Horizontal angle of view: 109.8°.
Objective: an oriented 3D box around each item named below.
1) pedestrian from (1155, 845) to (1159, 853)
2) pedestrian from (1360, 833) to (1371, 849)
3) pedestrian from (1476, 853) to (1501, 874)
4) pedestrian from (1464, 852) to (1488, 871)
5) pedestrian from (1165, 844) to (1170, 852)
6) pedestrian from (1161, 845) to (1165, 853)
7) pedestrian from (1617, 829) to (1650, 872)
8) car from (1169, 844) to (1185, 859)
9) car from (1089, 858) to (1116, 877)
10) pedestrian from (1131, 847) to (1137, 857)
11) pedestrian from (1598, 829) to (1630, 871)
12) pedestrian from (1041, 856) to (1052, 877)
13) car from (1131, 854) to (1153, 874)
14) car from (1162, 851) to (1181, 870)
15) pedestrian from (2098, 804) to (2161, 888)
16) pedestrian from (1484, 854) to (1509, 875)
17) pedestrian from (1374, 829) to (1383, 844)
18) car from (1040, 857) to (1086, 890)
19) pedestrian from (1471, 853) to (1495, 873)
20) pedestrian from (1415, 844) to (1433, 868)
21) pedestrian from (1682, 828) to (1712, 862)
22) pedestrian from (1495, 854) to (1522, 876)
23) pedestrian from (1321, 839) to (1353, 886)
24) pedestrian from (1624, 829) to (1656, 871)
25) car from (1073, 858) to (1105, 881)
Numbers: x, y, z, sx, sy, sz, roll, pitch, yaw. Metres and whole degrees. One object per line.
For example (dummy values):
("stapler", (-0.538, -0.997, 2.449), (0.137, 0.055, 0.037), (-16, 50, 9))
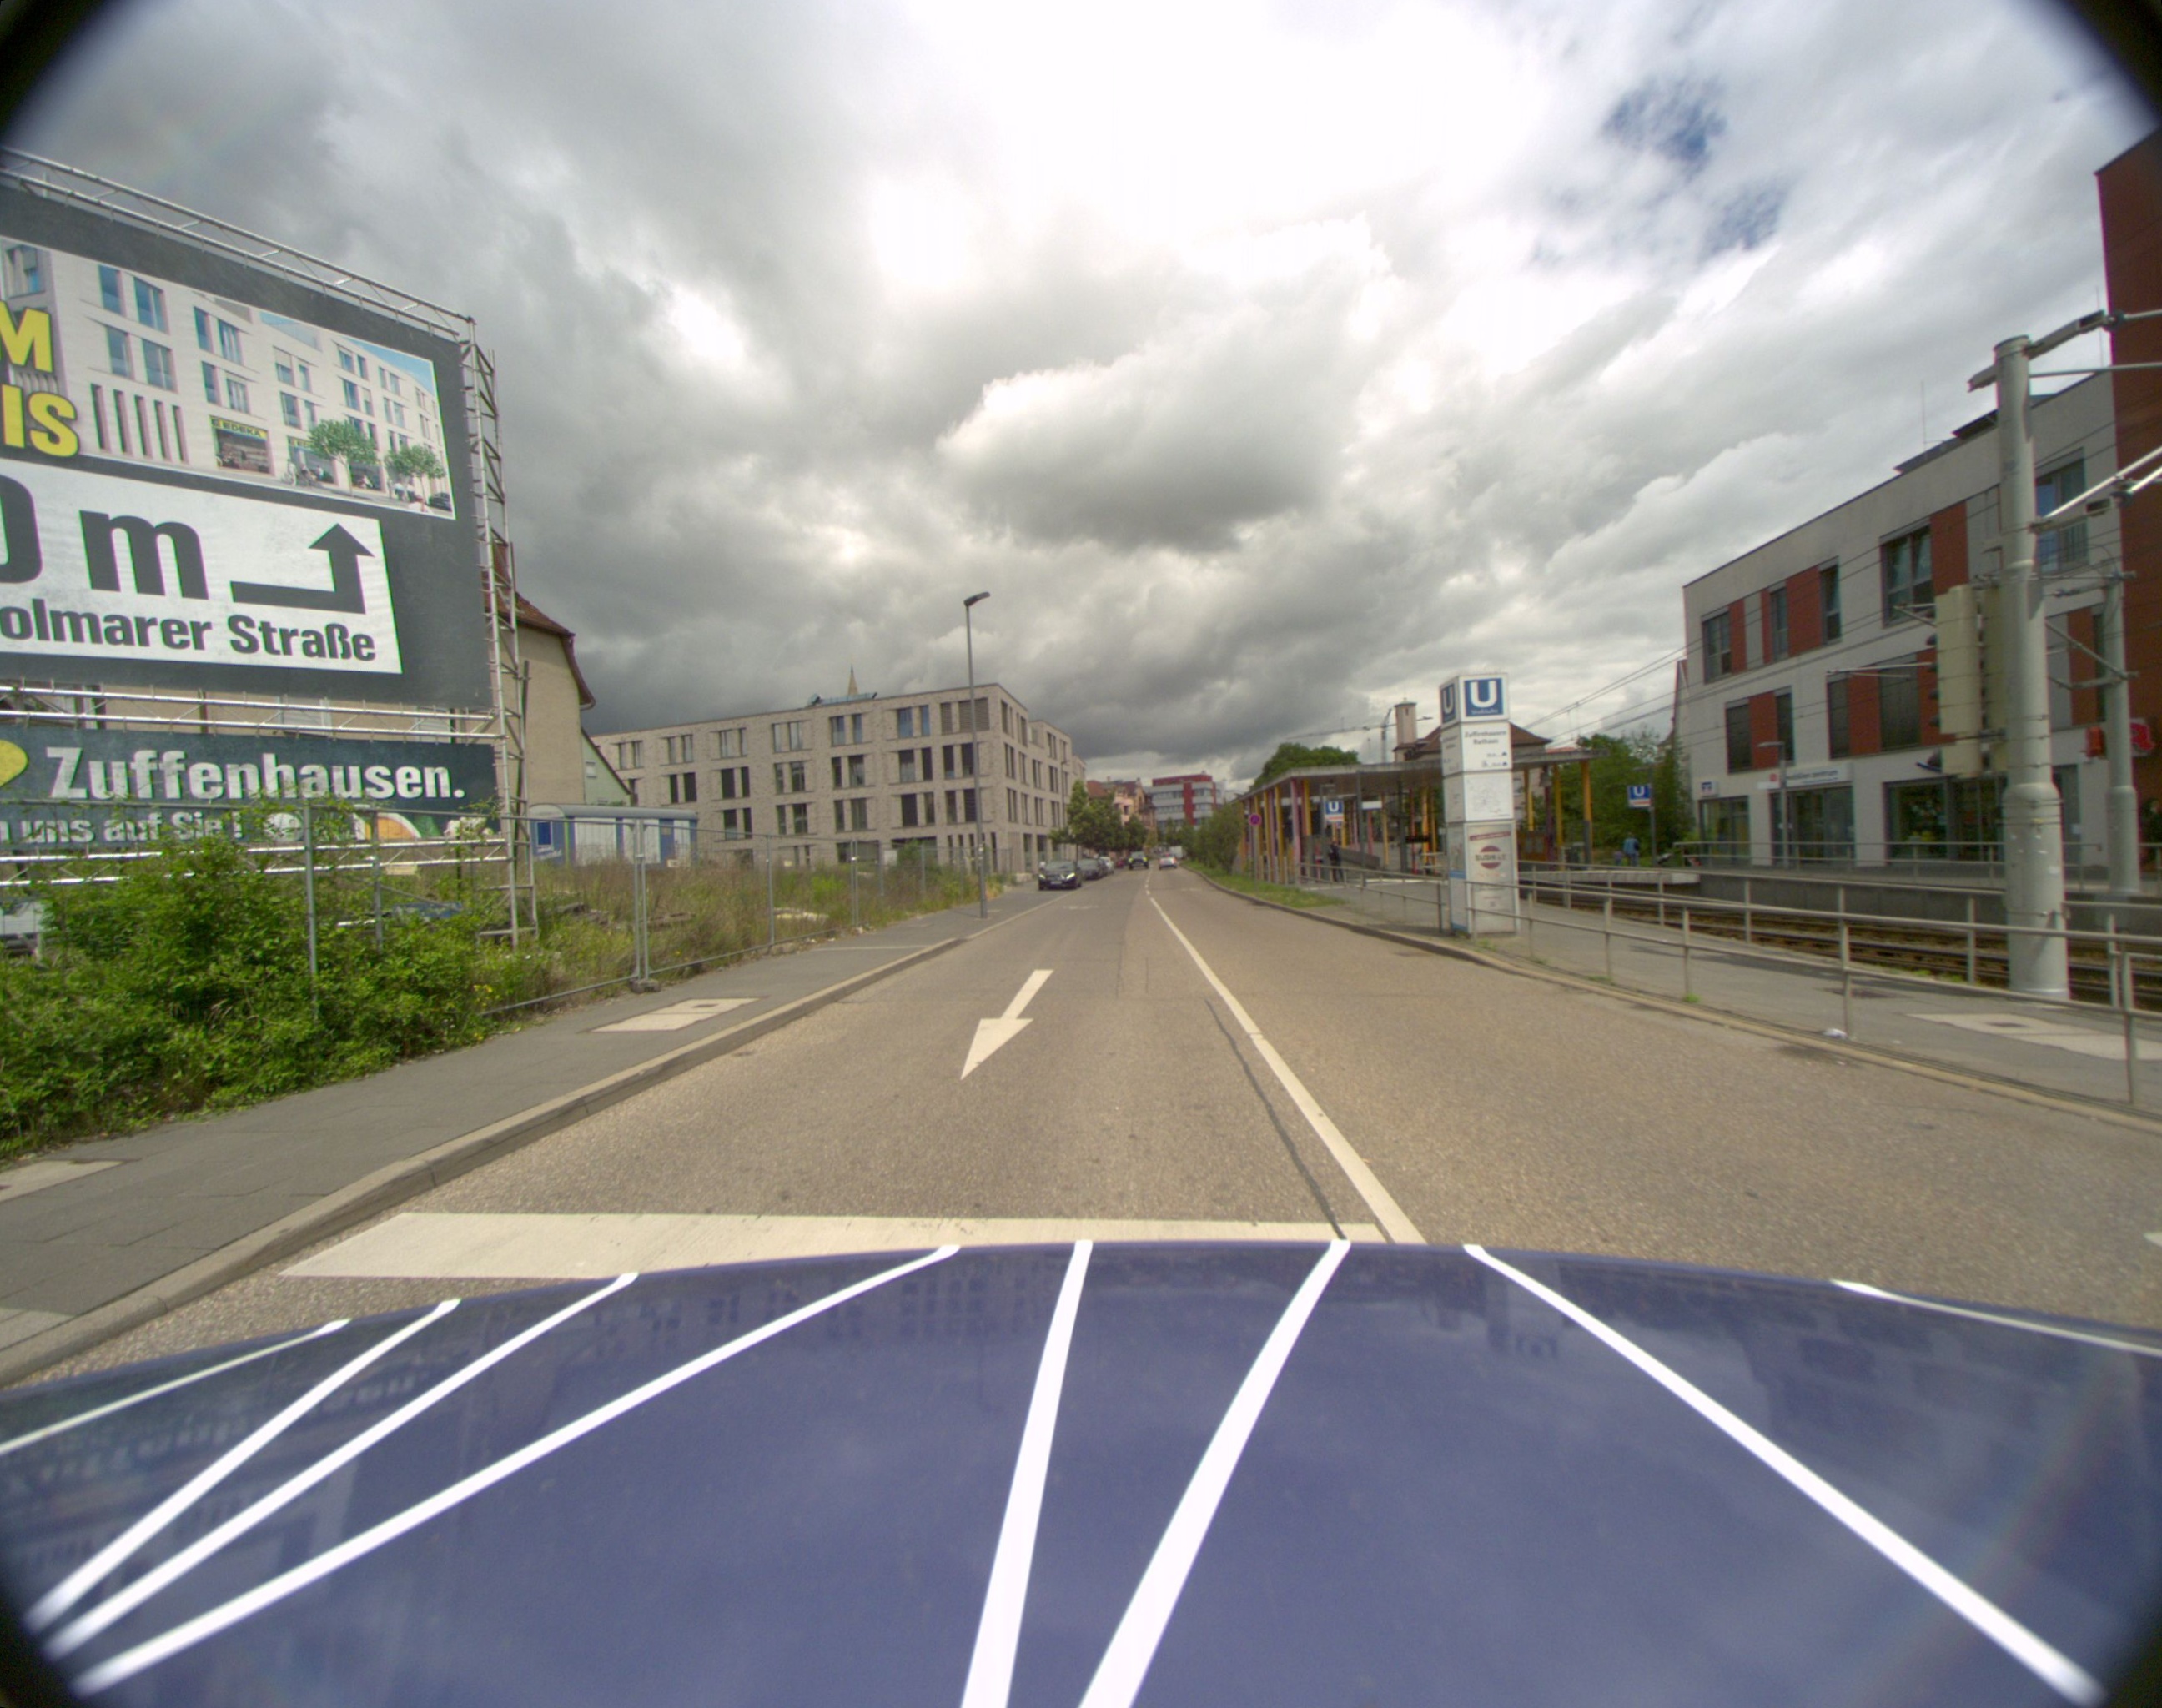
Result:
("pedestrian", (14.130, -0.950, 141.578), (0.673, 1.503, 0.783), (-2, 0, 7))
("pedestrian", (35.056, -1.597, 93.676), (1.127, 2.002, 0.816), (-2, 0, 10))
("pedestrian", (22.905, 0.535, 42.692), (0.943, 1.128, 0.886), (-2, 0, 7))
("pedestrian", (23.227, 0.440, 44.712), (0.943, 1.128, 0.886), (-2, 0, 7))
("pedestrian", (16.601, -1.128, 145.935), (0.673, 1.503, 0.783), (-2, 0, 15))
("pedestrian", (15.199, -0.986, 141.442), (0.673, 1.503, 0.783), (-2, 0, 7))
("pedestrian", (25.904, -0.154, 35.659), (0.863, 1.957, 1.106), (-1, 1, 10))
("car", (13.648, -0.364, 107.723), (1.997, 2.064, 4.003), (-1, 1, 11))
("car", (1.695, 0.993, 58.634), (1.677, 1.299, 3.796), (-1, 1, 7))
("pedestrian", (8.306, -0.322, 118.488), (0.673, 1.503, 0.784), (-2, 0, 20))
("pedestrian", (25.099, -0.191, 35.805), (0.863, 1.957, 1.106), (-1, 1, 10))
("pedestrian", (-2.616, 0.951, 56.955), (0.673, 1.503, 0.783), (-2, 0, 5))
("car", (6.541, 1.014, 80.901), (2.003, 1.876, 5.153), (-1, 1, 9))
("car", (8.466, 0.626, 71.207), (1.587, 1.528, 3.947), (-5, 1, 6))
("pedestrian", (22.073, -0.168, 15.716), (0.788, 1.688, 0.936), (-1, 1, 5))
("pedestrian", (22.817, 0.553, 41.738), (0.943, 1.128, 0.886), (-2, 0, 7))
("pedestrian", (41.470, -2.425, 105.887), (1.124, 2.002, 1.662), (-2, 0, 21))
("car", (-0.830, 0.919, 37.017), (1.677, 1.415, 3.796), (-1, 1, 7))
("pedestrian", (23.077, 0.514, 43.673), (0.943, 1.128, 0.886), (-2, 0, 7))
("pedestrian", (29.300, 0.176, 64.953), (1.127, 2.002, 1.180), (-2, 0, 10))
("pedestrian", (35.742, -0.510, 44.120), (1.104, 1.957, 0.865), (-1, 2, 17))
("pedestrian", (22.939, 0.567, 40.770), (0.943, 1.128, 0.886), (-2, 0, 7))
("pedestrian", (10.644, 0.345, 31.642), (1.104, 1.903, 0.865), (-1, 1, 7))
("pedestrian", (27.066, -0.196, 36.794), (0.863, 1.957, 1.106), (-1, 1, 10))
("car", (0.582, 0.998, 50.791), (1.677, 1.367, 3.797), (-2, 0, 7))
